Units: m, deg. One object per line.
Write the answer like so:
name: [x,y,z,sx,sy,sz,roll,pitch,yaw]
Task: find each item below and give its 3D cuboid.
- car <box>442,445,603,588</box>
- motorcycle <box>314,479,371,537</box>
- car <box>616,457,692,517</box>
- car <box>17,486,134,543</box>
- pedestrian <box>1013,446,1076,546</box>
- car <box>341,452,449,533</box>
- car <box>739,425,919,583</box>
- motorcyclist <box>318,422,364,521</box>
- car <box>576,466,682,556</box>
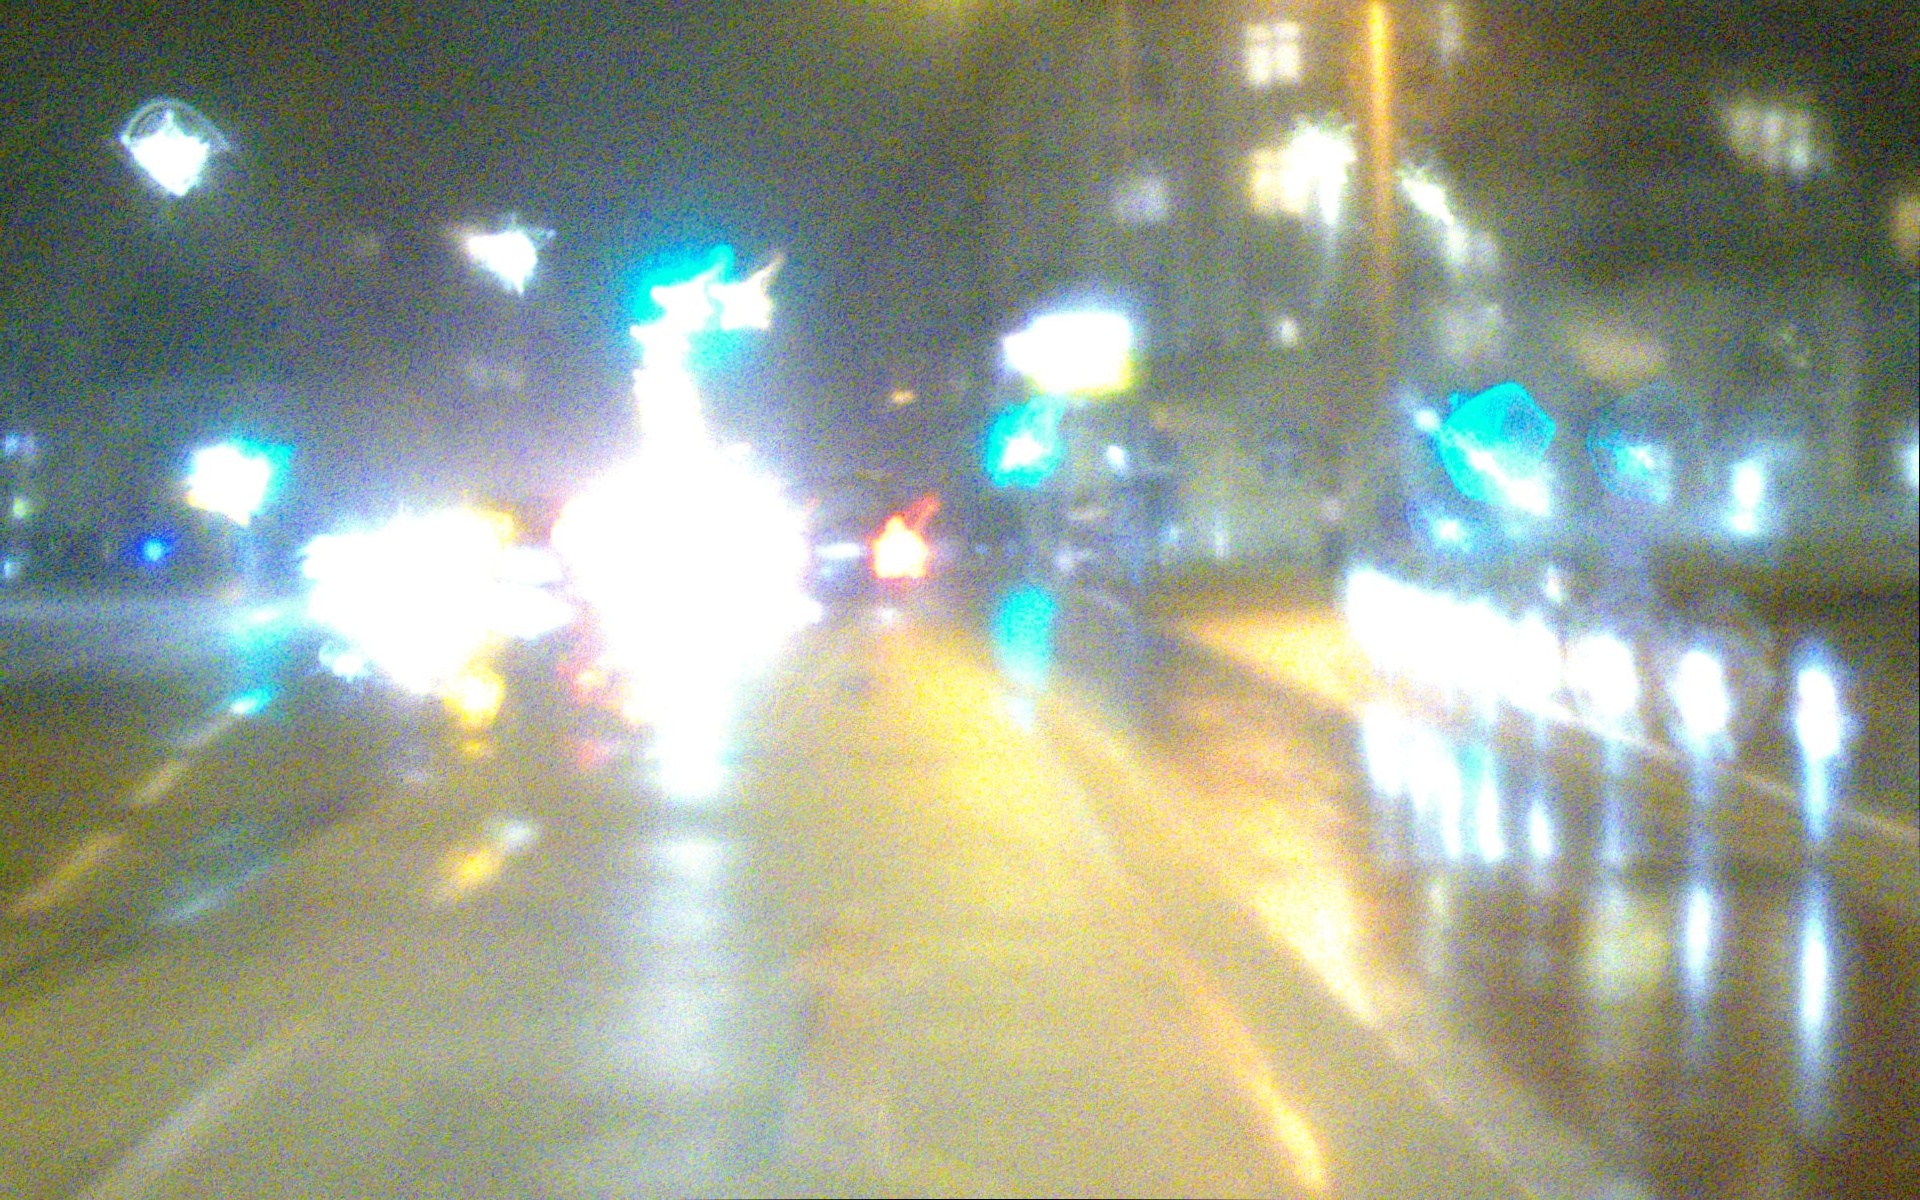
car: [-6.671,-1.336,52.908,2.034,1.946,5.201,-4,3,-4]
motorcycle: [-12.750,-1.902,71.033,0.701,1.134,2.176,-2,2,1]
car: [-8.324,-3.063,93.311,1.706,1.537,3.990,-2,2,-9]
car: [-29.890,-2.902,116.305,1.699,1.695,4.190,0,4,20]
pedestrian: [1.570,-1.929,63.638,1.107,1.819,0.851,-2,2,2]
car: [-11.262,-2.187,68.800,1.852,1.494,4.771,-2,3,-7]
car: [-1.832,-1.307,46.601,2.168,1.965,4.303,-2,2,-5]
motorcyclist: [-12.786,-2.657,71.057,0.693,2.006,0.983,-2,2,1]
car: [-6.092,-1.647,63.049,1.817,1.537,4.727,-2,2,-6]
